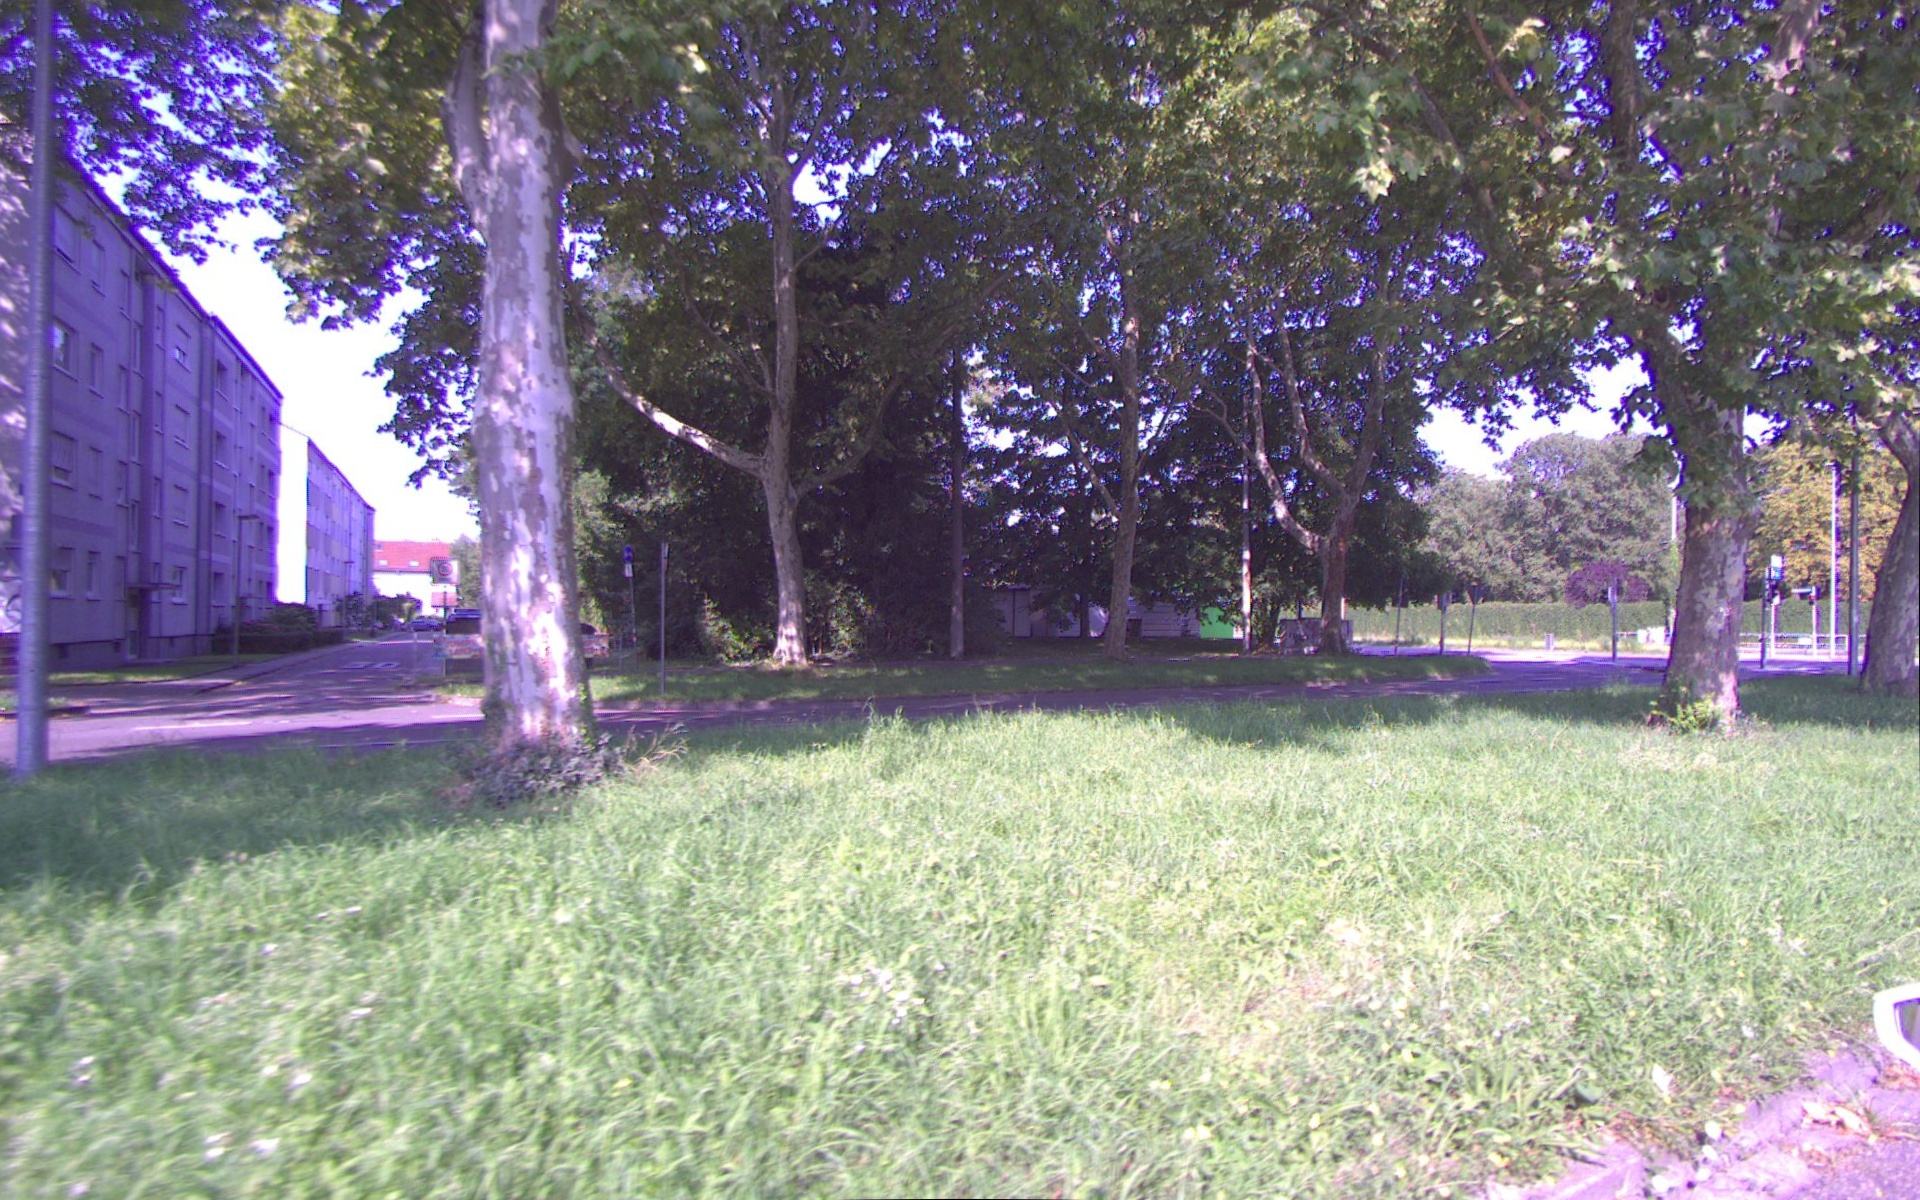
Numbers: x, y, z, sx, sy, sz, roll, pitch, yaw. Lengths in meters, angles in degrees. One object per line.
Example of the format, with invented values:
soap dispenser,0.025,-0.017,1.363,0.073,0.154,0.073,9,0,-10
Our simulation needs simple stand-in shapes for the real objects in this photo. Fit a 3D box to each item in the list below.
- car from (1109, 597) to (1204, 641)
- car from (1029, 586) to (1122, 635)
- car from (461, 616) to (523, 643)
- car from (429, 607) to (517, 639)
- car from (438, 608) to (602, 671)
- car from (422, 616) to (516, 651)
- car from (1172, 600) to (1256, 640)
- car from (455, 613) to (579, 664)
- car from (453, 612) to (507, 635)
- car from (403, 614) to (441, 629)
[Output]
car,10.051,0.985,51.358,4.663,2.165,2.165,1,-1,-35
car,6.127,0.563,53.253,4.663,2.472,2.165,1,-1,-35
car,-33.572,2.125,72.081,3.949,1.745,1.687,3,-1,-27
car,-24.752,1.184,51.202,3.945,1.588,1.692,1,-1,-25
car,-12.981,1.151,29.787,4.328,1.749,1.692,1,-1,-25
car,-23.389,1.604,48.030,3.945,1.588,1.692,1,-1,-25
car,15.123,1.202,59.699,5.071,2.293,2.017,1,-1,-35
car,-15.747,1.361,35.825,3.945,1.749,1.692,1,-1,-25
car,-40.283,1.953,84.326,3.949,1.745,1.687,3,-1,-27
car,-64.193,2.543,119.809,3.953,1.795,1.788,1,-1,-30
